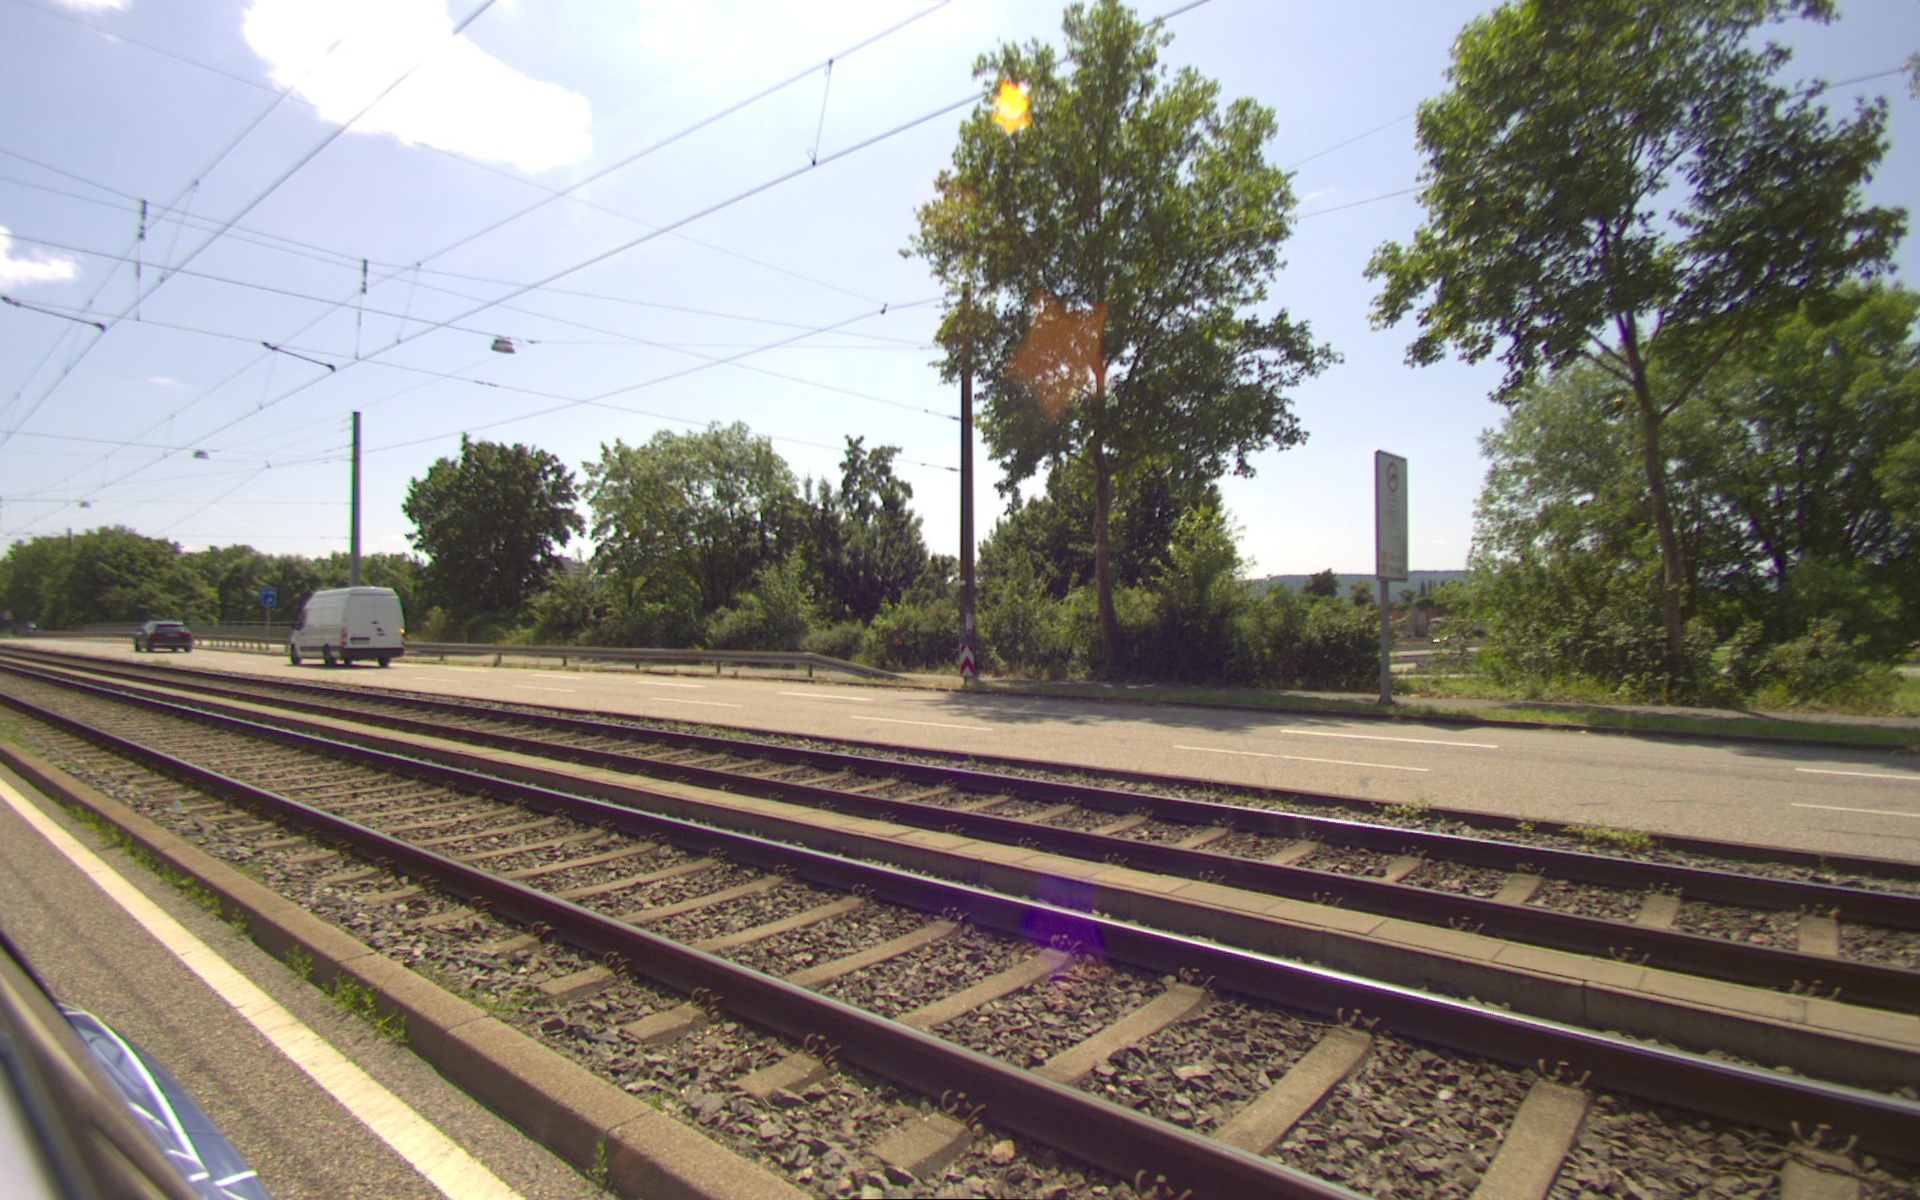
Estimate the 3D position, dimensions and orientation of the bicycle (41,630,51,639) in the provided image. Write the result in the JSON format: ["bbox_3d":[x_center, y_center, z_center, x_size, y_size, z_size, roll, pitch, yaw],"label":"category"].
[{"bbox_3d":[-97.920,3.707,108.372,2.034,0.849,0.517,-2,-1,40],"label":"bicycle"}]

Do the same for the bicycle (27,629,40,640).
[{"bbox_3d":[-106.154,3.952,115.930,2.060,1.194,0.848,-1,-1,40],"label":"bicycle"}]

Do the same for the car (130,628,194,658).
[{"bbox_3d":[-41.467,2.216,52.561,4.425,1.526,1.799,-1,-3,41],"label":"car"}]

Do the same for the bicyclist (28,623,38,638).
[{"bbox_3d":[-106.300,3.510,116.051,0.837,1.634,0.755,-1,-1,41],"label":"bicyclist"}]

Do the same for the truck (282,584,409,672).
[{"bbox_3d":[-22.301,1.025,36.593,6.316,2.961,2.032,-1,-3,41],"label":"truck"}]
